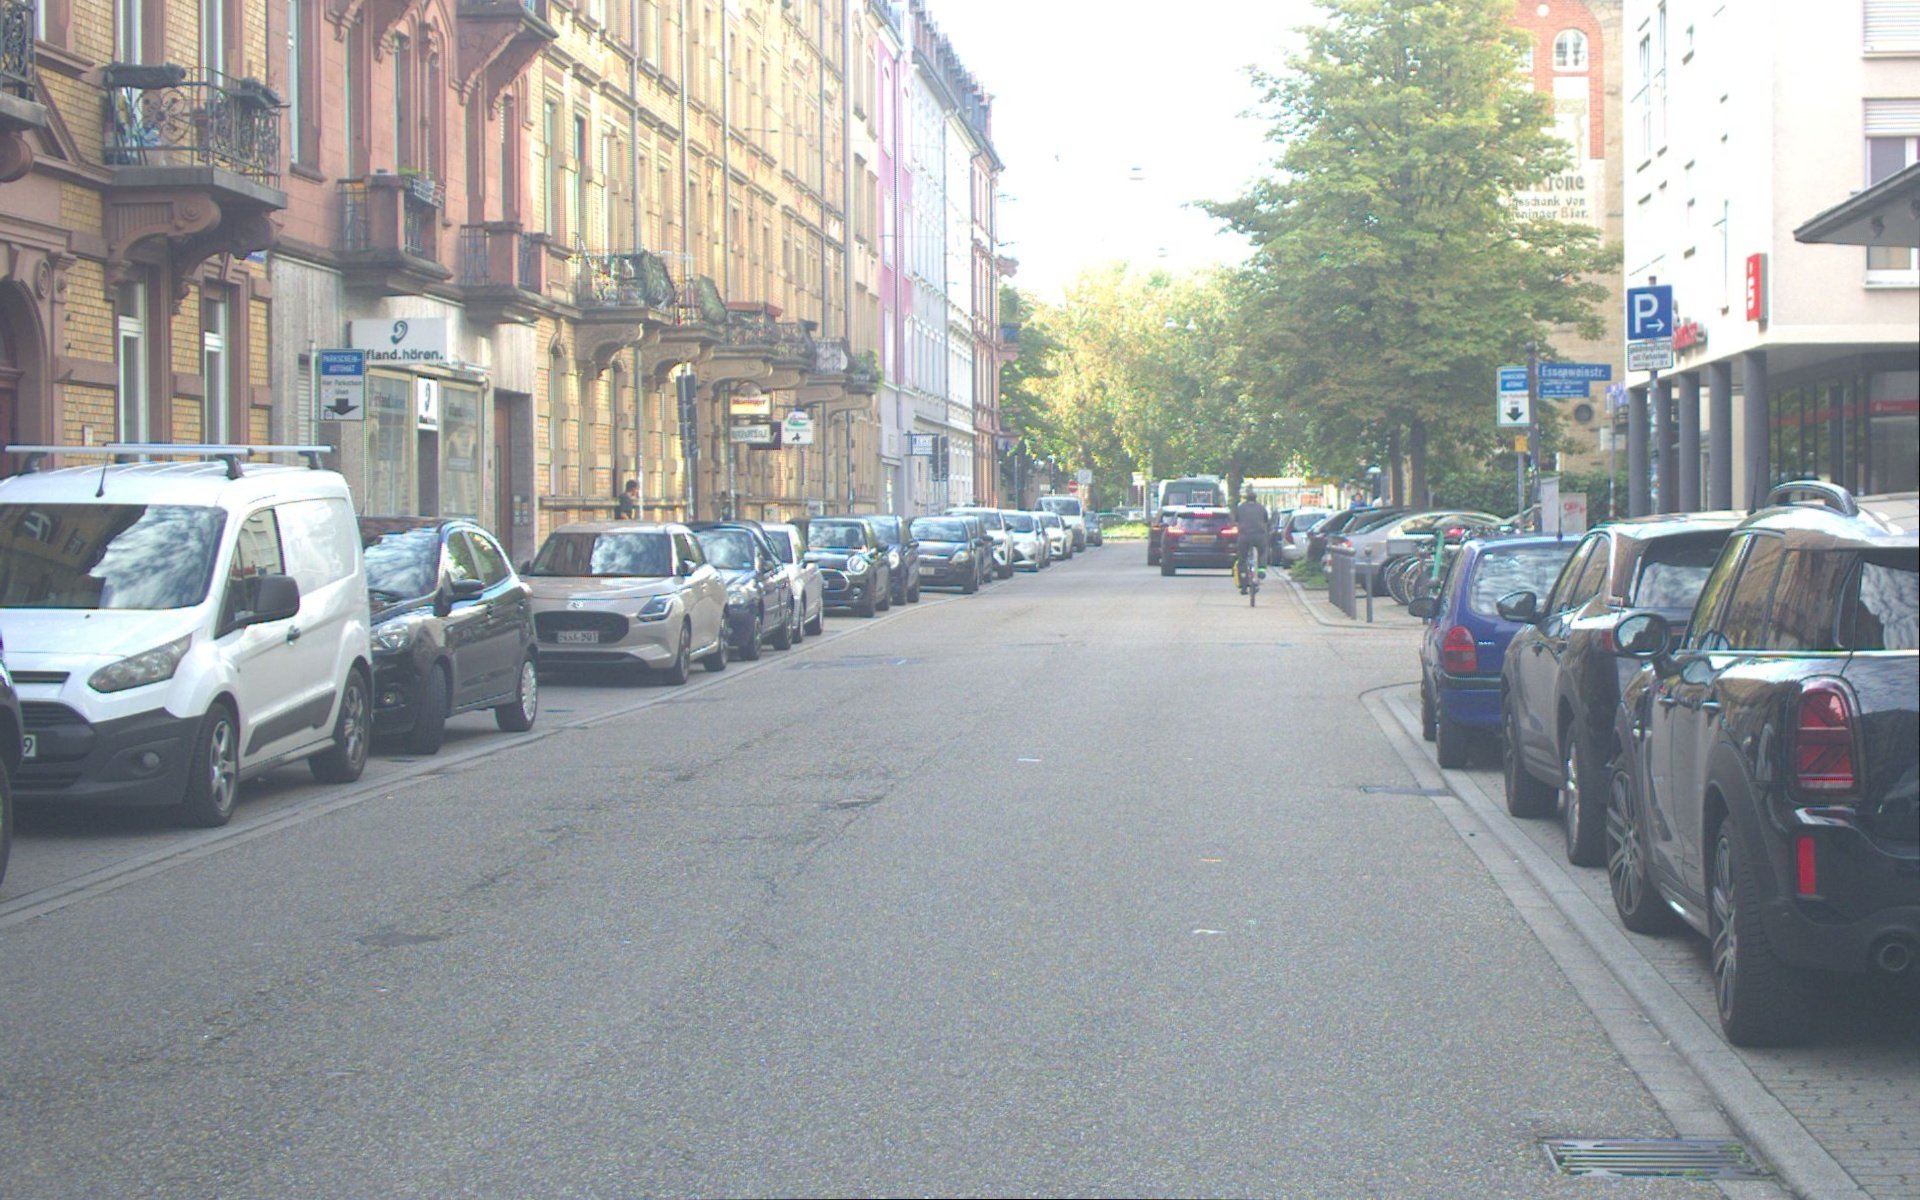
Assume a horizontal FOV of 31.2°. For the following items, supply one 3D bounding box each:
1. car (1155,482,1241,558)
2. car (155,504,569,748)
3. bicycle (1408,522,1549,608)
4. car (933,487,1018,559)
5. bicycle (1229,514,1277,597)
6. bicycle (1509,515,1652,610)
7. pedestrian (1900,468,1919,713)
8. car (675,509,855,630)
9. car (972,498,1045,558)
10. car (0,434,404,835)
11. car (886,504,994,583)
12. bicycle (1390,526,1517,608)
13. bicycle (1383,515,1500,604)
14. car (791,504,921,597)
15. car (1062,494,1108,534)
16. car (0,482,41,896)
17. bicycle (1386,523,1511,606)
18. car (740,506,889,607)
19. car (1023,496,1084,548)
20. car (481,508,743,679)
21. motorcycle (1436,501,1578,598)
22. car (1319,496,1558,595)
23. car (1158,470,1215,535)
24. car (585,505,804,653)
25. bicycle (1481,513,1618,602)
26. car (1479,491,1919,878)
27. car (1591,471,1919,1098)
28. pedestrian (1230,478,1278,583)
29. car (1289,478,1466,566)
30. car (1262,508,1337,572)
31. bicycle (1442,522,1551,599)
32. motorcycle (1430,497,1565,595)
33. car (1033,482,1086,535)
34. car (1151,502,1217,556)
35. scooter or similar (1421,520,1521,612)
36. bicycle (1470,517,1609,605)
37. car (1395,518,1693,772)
[{"bbox_3d":[5.599,-1.857,80.555,1.965,1.734,4.041,0,1,5],"label":"car"},{"bbox_3d":[-3.942,0.115,23.322,1.742,1.478,3.983,1,1,6],"label":"car"},{"bbox_3d":[6.861,-0.470,45.494,1.765,1.053,0.411,-2,2,0],"label":"bicycle"},{"bbox_3d":[0.371,-1.790,79.023,1.690,1.544,3.867,2,2,4],"label":"car"},{"bbox_3d":[4.675,-0.721,54.713,0.718,1.270,1.884,1,2,5],"label":"bicycle"},{"bbox_3d":[8.107,-0.491,44.979,1.766,1.158,0.650,-2,2,7],"label":"bicycle"},{"bbox_3d":[6.632,-0.071,22.455,0.824,1.583,0.780,-1,1,6],"label":"pedestrian"},{"bbox_3d":[-2.385,-0.415,42.826,1.690,1.382,3.867,1,2,5],"label":"car"},{"bbox_3d":[1.300,-1.914,91.165,1.690,1.545,3.867,1,1,4],"label":"car"},{"bbox_3d":[-4.429,0.086,18.252,1.920,1.865,4.436,0,2,4],"label":"car"},{"bbox_3d":[-0.358,-1.126,66.794,1.690,1.364,3.867,4,2,5],"label":"car"},{"bbox_3d":[7.087,-0.474,49.389,1.766,1.095,0.411,-2,2,8],"label":"bicycle"},{"bbox_3d":[6.567,-0.557,46.889,1.495,1.142,0.411,-2,2,0],"label":"bicycle"},{"bbox_3d":[-1.677,-0.836,56.616,1.690,1.432,3.867,1,2,5],"label":"car"},{"bbox_3d":[5.010,-3.433,137.806,1.690,1.545,3.867,1,1,4],"label":"car"},{"bbox_3d":[-4.872,0.394,12.039,1.994,1.632,4.145,0,2,3],"label":"car"},{"bbox_3d":[7.249,-0.528,51.059,1.795,1.155,0.500,-2,2,8],"label":"bicycle"},{"bbox_3d":[-2.098,-0.669,50.471,1.690,1.382,3.867,1,2,5],"label":"car"},{"bbox_3d":[2.912,-2.401,106.288,1.690,1.545,3.867,1,1,4],"label":"car"},{"bbox_3d":[-3.225,-0.113,32.589,1.742,1.478,3.983,1,2,5],"label":"car"},{"bbox_3d":[8.628,-0.804,54.239,2.151,1.430,0.765,-2,2,9],"label":"motorcycle"},{"bbox_3d":[8.269,-0.936,59.566,3.759,1.541,1.731,-2,0,-5],"label":"car"},{"bbox_3d":[7.320,-3.159,111.037,1.782,2.013,3.888,1,2,4],"label":"car"},{"bbox_3d":[-2.830,-0.269,37.413,1.742,1.478,3.983,1,2,5],"label":"car"},{"bbox_3d":[8.116,-0.594,47.354,1.765,1.142,0.411,-3,2,-1],"label":"bicycle"},{"bbox_3d":[3.475,0.302,16.059,1.688,1.571,3.902,-1,1,3],"label":"car"},{"bbox_3d":[3.108,0.397,10.820,1.793,1.600,3.924,-3,2,5],"label":"car"},{"bbox_3d":[4.679,-1.113,54.706,0.718,1.644,0.930,1,2,5],"label":"pedestrian"},{"bbox_3d":[9.774,-1.830,80.378,3.988,1.678,1.737,-2,9,9],"label":"car"},{"bbox_3d":[9.125,-1.637,92.692,1.930,1.632,4.000,1,2,5],"label":"car"},{"bbox_3d":[8.668,-0.641,55.590,1.664,1.155,0.557,-2,2,7],"label":"bicycle"},{"bbox_3d":[8.956,-0.897,57.253,2.151,1.525,0.686,-2,2,9],"label":"motorcycle"},{"bbox_3d":[3.560,-3.243,122.509,1.690,1.815,3.867,1,1,4],"label":"car"},{"bbox_3d":[6.351,-2.025,97.552,1.797,1.467,3.888,1,2,4],"label":"car"},{"bbox_3d":[6.664,-0.443,44.846,1.208,1.143,0.378,-1,3,36],"label":"scooter or similar"},{"bbox_3d":[7.753,-0.527,46.060,1.766,1.083,0.650,-2,2,7],"label":"bicycle"},{"bbox_3d":[3.666,0.218,22.096,1.596,1.434,4.030,-1,2,6],"label":"car"}]
